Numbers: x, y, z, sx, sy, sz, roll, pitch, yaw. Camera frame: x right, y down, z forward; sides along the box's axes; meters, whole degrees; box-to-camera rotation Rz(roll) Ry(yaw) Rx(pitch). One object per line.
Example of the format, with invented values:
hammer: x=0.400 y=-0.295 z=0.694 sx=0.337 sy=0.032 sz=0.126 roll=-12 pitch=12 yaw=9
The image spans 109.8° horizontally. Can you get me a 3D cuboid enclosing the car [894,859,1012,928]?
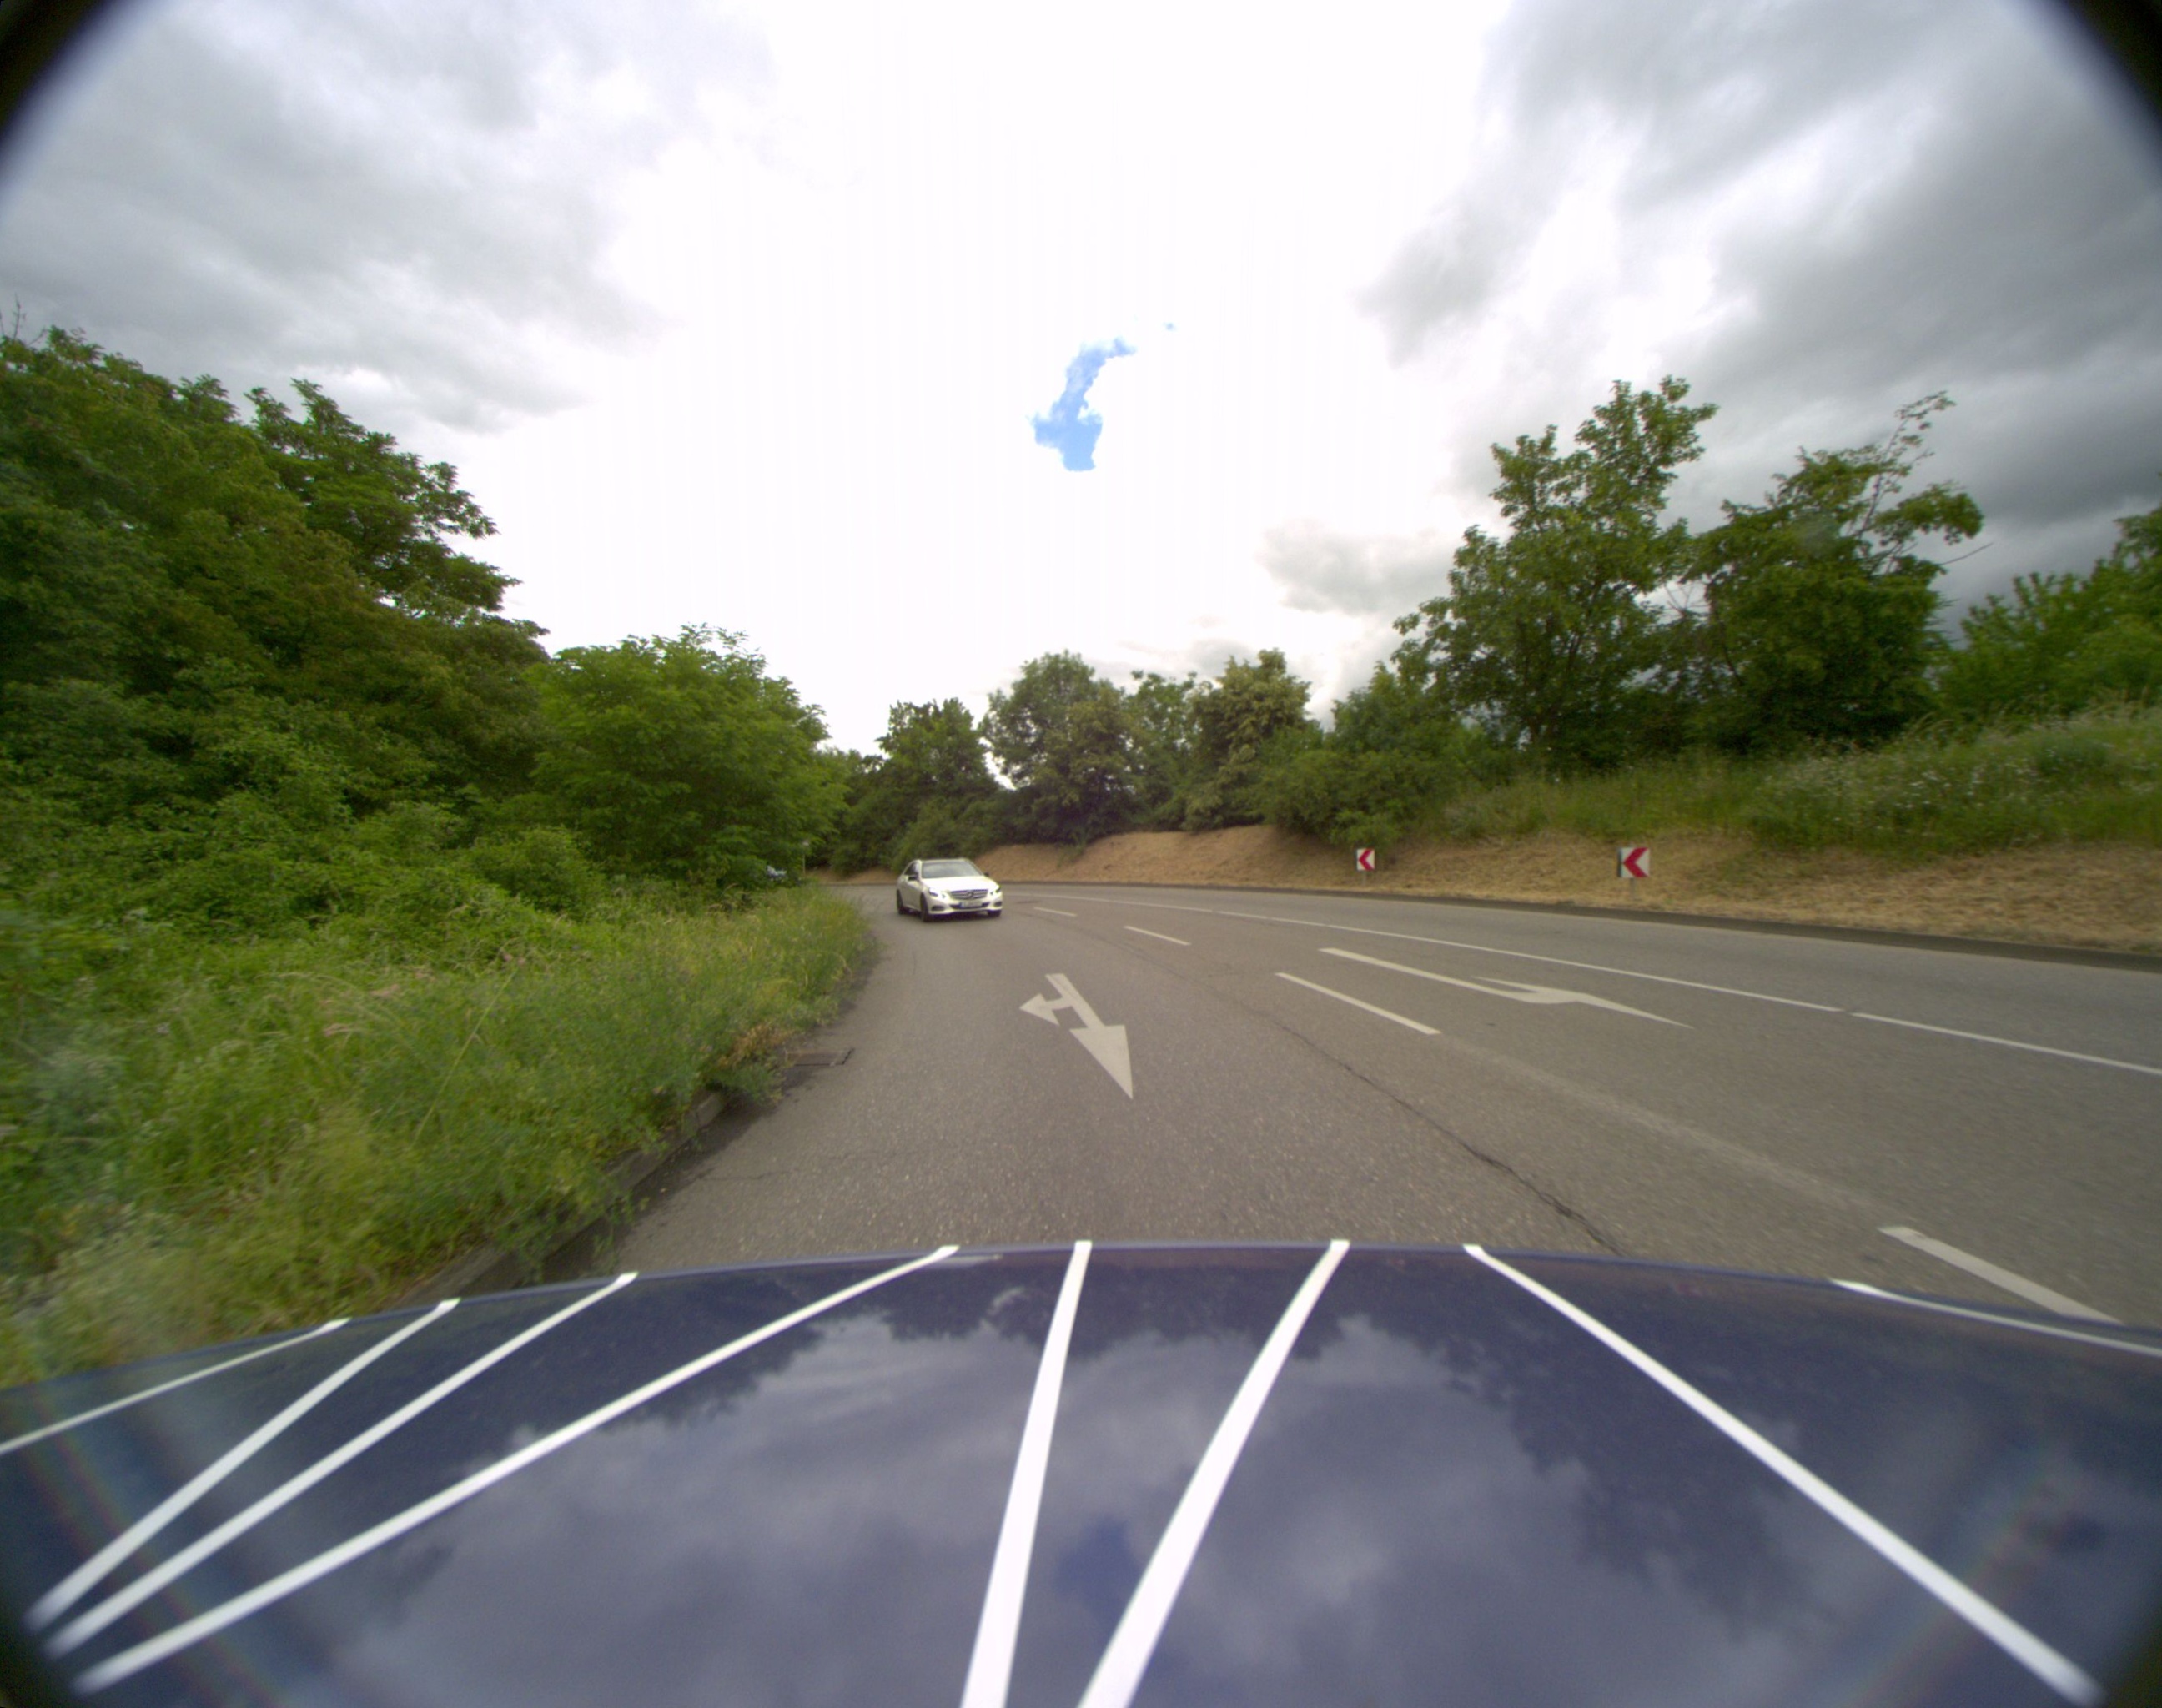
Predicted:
car: x=-3.332 y=0.891 z=19.139 sx=1.891 sy=1.414 sz=3.992 roll=-4 pitch=2 yaw=-24
